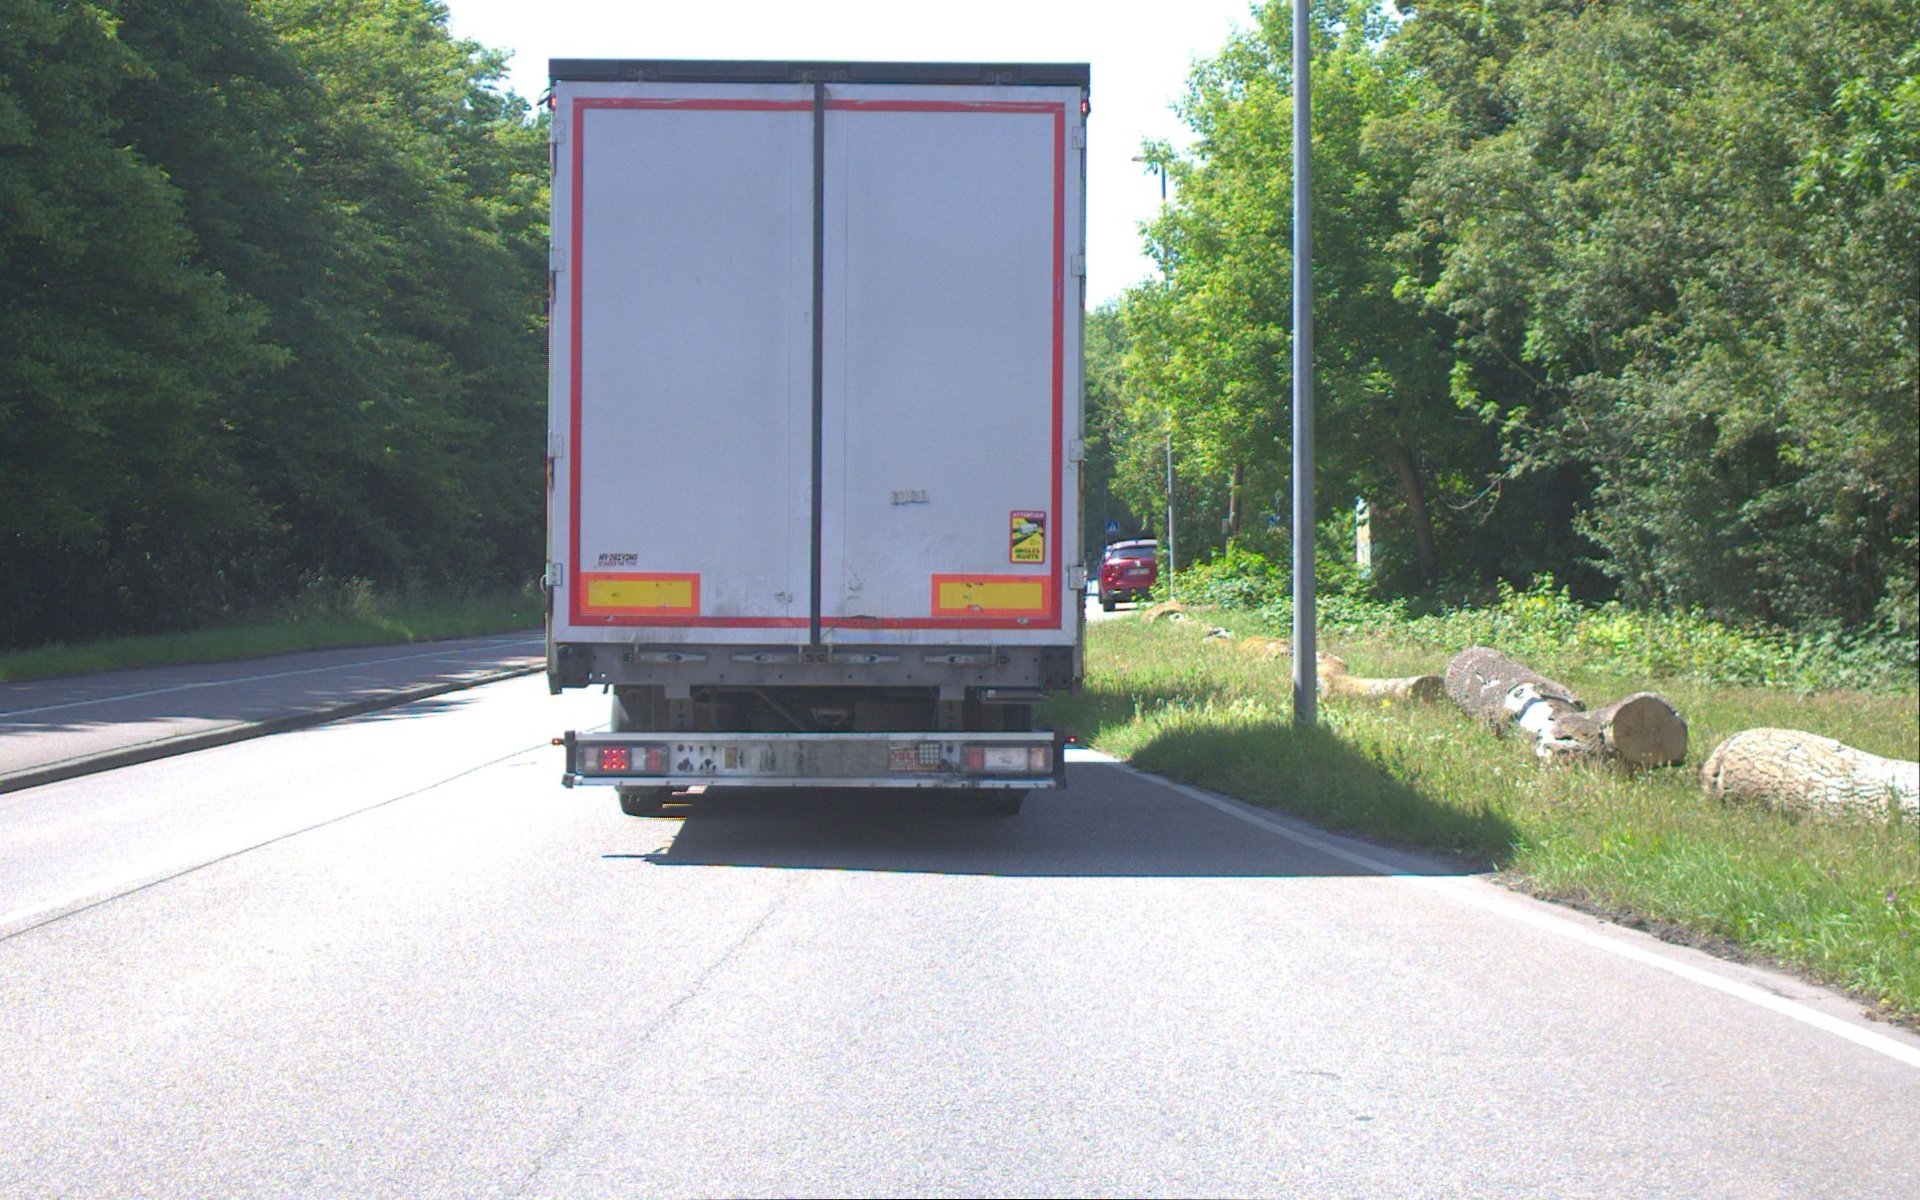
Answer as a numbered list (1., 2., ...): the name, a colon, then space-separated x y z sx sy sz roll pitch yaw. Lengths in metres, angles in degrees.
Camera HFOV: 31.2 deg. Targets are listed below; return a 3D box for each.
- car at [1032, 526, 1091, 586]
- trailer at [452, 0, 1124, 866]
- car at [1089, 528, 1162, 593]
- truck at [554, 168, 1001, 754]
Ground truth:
1. car: 3.568 -1.542 120.298 1.993 2.007 4.000 -1 1 2
2. trailer: -1.069 -0.894 20.785 3.077 4.056 9.810 0 1 -3
3. car: 3.995 -0.968 83.566 1.710 1.525 3.851 0 1 2
4. truck: -1.492 -1.061 27.883 3.077 4.056 7.960 0 1 -3
